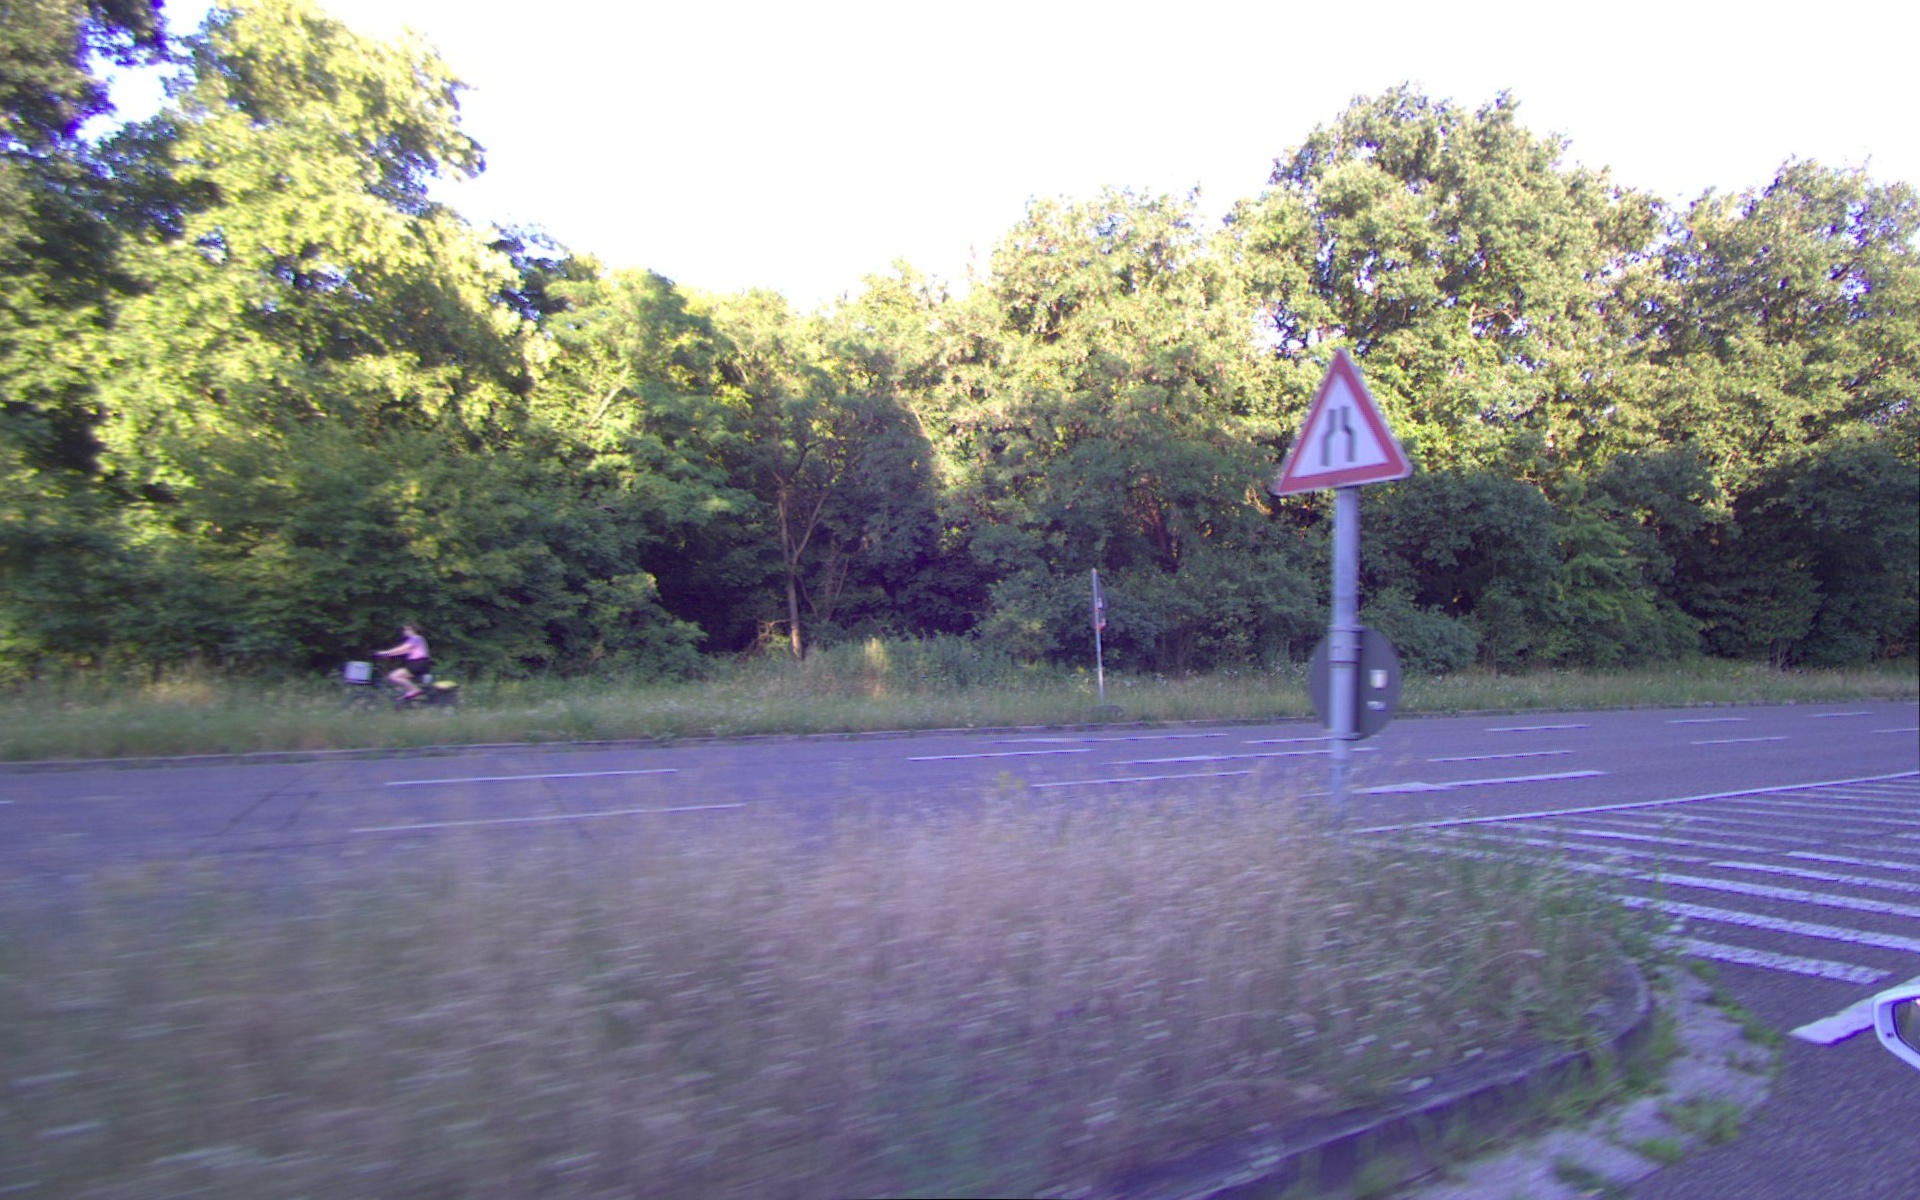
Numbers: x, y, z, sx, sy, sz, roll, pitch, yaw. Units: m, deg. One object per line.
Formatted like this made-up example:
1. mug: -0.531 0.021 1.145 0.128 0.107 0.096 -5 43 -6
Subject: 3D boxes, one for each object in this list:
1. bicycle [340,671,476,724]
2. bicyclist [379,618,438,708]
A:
1. bicycle: -9.120 1.602 16.683 1.934 0.815 0.583 2 -2 -28
2. bicyclist: -9.103 1.028 16.605 0.812 1.448 0.583 2 -2 -27
